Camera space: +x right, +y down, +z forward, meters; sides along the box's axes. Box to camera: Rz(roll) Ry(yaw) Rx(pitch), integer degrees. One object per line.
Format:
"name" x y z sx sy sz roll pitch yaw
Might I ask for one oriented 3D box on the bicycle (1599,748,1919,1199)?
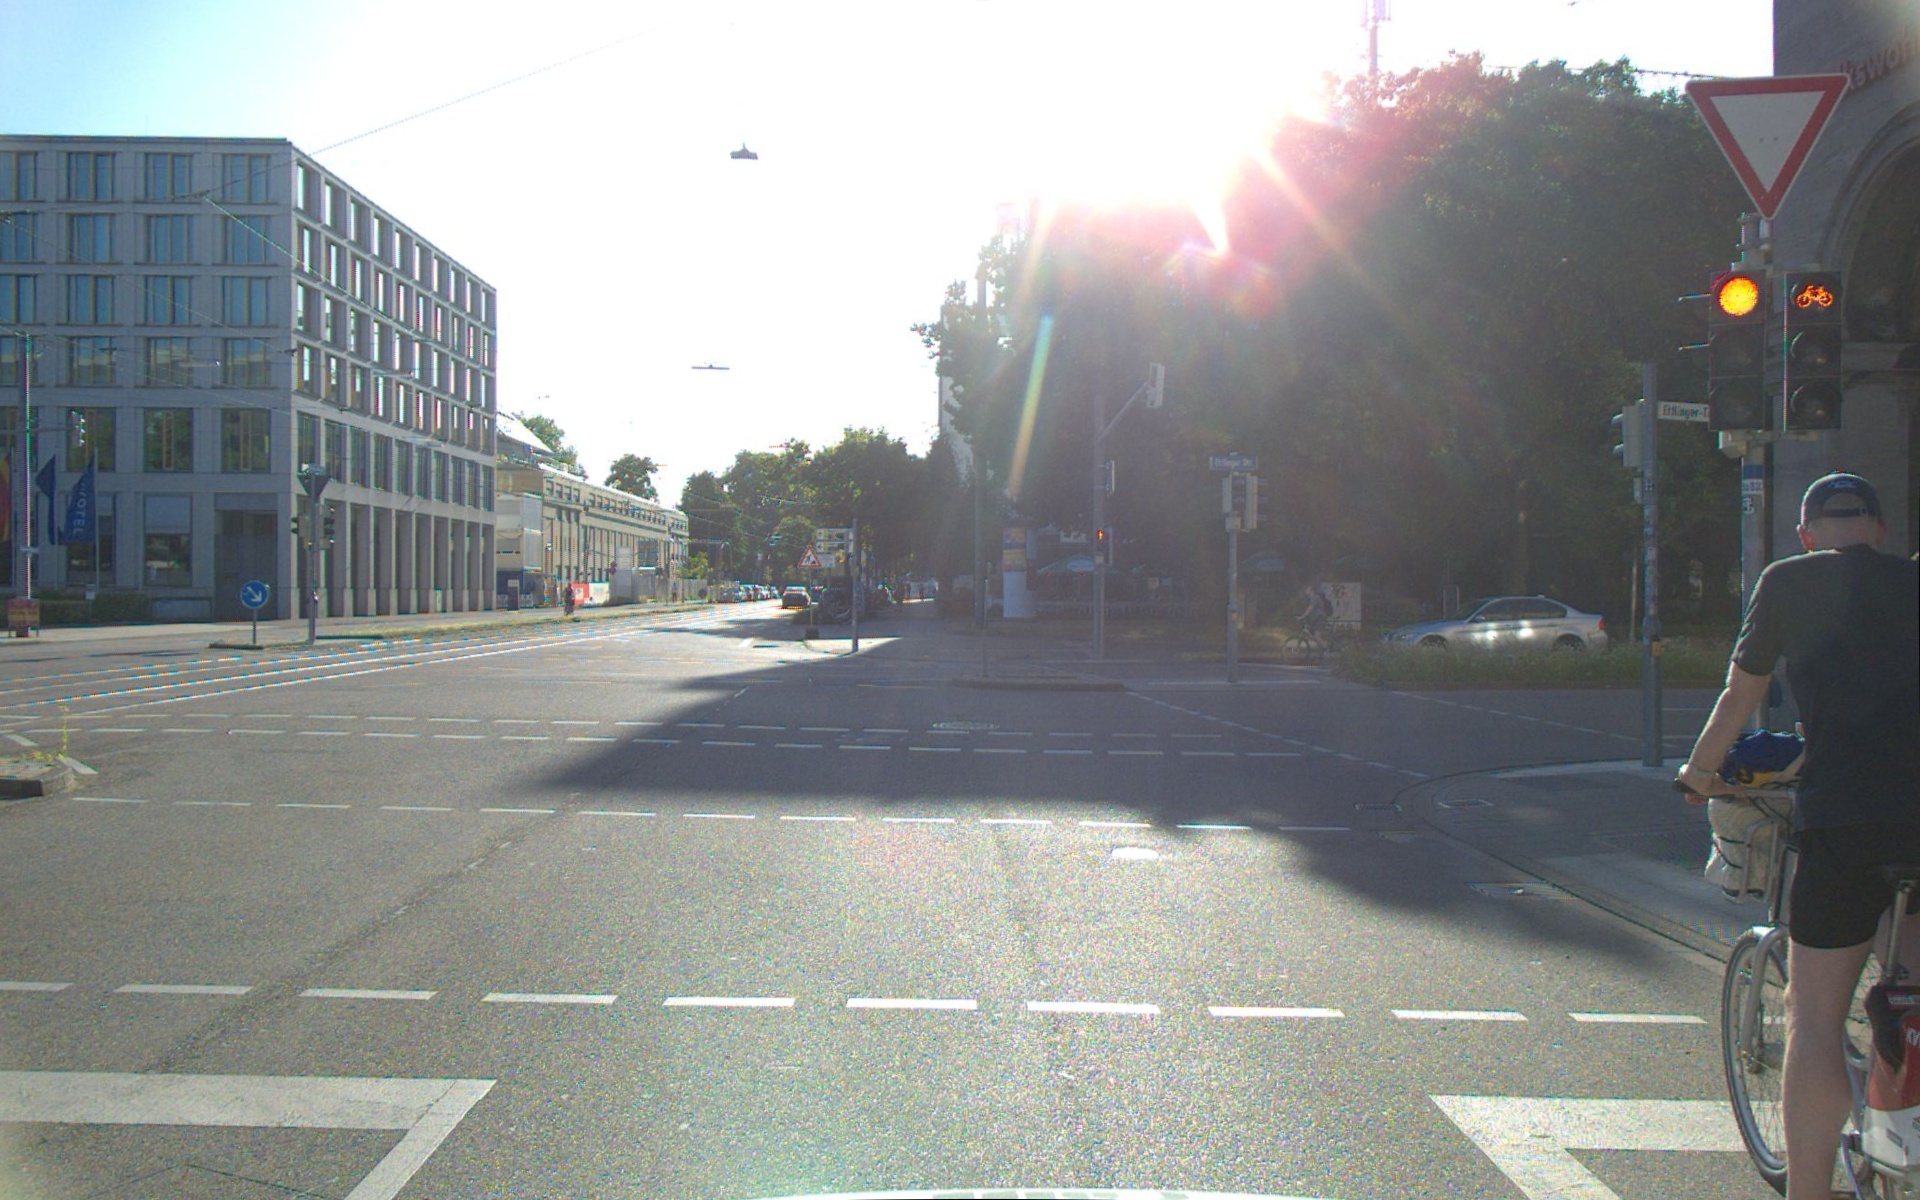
"bicycle" 2.079 0.981 3.891 0.505 1.096 1.728 1 0 1

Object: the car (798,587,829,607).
"car" -12.327 -0.288 139.139 1.853 1.592 4.810 3 1 3

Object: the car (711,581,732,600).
"car" -22.486 -0.895 156.110 1.659 1.748 4.244 1 0 -4

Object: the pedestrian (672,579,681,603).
"pedestrian" -24.992 -0.780 145.790 0.660 2.049 0.751 1 -1 -3

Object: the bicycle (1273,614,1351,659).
"bicycle" 7.745 0.806 36.435 1.631 0.980 0.534 0 0 5

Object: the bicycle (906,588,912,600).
"bicycle" -4.951 -0.596 160.685 0.563 1.096 1.830 0 0 -1

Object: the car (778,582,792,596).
"car" -22.948 -1.396 217.303 1.659 1.748 4.244 1 0 -4

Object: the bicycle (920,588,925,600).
"bicycle" -3.654 -0.571 161.169 0.563 1.096 1.830 0 0 -1

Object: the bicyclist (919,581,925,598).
"bicyclist" -3.668 -1.020 161.188 0.558 1.721 0.699 0 0 -1

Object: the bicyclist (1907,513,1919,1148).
"bicyclist" 2.891 0.628 4.232 0.546 1.721 0.640 1 0 -2

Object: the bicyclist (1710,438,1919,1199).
"bicyclist" 2.098 0.579 3.733 0.547 1.830 0.550 1 0 1

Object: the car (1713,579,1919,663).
"car" 17.537 0.419 33.554 3.770 1.639 1.650 0 0 -1

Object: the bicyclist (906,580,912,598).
"bicyclist" -4.943 -1.100 160.690 0.558 1.721 0.699 0 0 -1

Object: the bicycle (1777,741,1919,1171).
"bicycle" 2.867 1.000 4.339 0.523 1.096 1.750 1 0 -2

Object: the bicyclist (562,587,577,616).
"bicyclist" -19.029 0.090 80.598 0.584 1.401 0.637 1 -1 -2

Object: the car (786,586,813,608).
"car" -11.088 -0.193 114.457 1.627 1.481 4.430 1 0 -3

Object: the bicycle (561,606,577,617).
"bicycle" -19.032 0.569 80.577 0.491 0.524 1.257 1 0 -2

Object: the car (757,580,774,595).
"car" -22.849 -1.432 194.359 1.659 1.748 4.244 1 0 -4

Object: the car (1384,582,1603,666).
"car" 10.775 0.476 33.565 3.912 1.639 1.650 0 0 -1

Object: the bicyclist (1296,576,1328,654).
"bicyclist" 7.752 0.334 36.450 0.630 1.712 0.507 0 0 5

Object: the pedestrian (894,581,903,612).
"pedestrian" -3.627 -0.212 97.648 0.454 1.845 0.502 0 0 -5

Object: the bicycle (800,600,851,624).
"bicycle" -5.489 0.508 67.384 1.976 0.907 0.650 -2 -1 27
